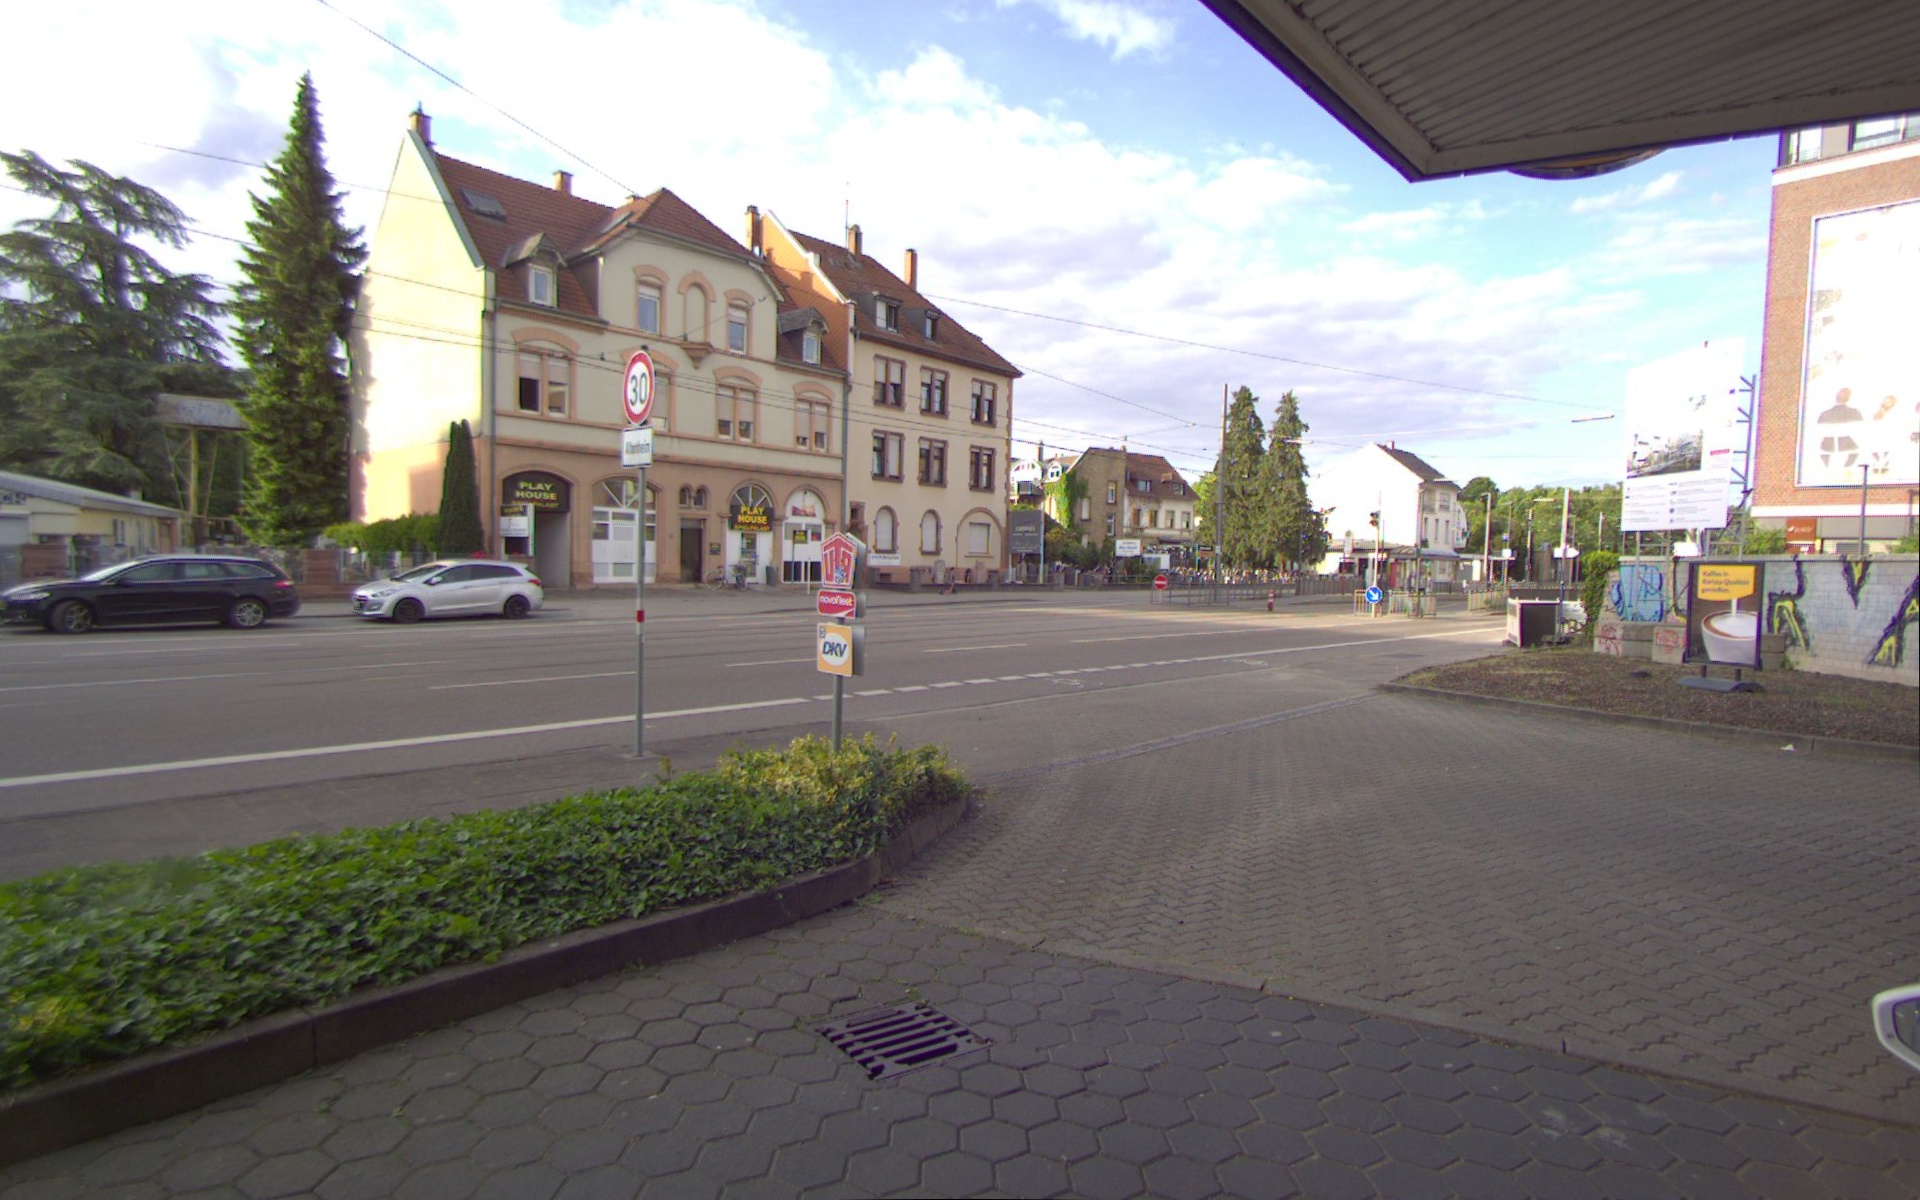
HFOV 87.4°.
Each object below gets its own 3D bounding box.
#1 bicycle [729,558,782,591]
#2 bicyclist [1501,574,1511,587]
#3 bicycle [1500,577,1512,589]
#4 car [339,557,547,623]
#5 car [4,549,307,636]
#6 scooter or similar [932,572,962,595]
[{"bbox_3d":[-8.261,-1.019,40.627,0.741,1.219,2.011,8,5,41],"label":"bicycle"},{"bbox_3d":[57.969,-2.075,106.605,0.741,1.428,0.916,3,3,41],"label":"bicyclist"},{"bbox_3d":[57.962,-1.780,106.626,0.741,1.219,1.811,1,2,42],"label":"bicycle"},{"bbox_3d":[-12.941,-0.262,25.356,1.718,1.502,4.357,3,2,41],"label":"car"},{"bbox_3d":[-16.499,-0.185,20.817,1.827,1.542,4.642,5,4,40],"label":"car"},{"bbox_3d":[-0.580,-0.732,45.093,0.437,1.006,1.460,6,5,41],"label":"scooter or similar"}]
